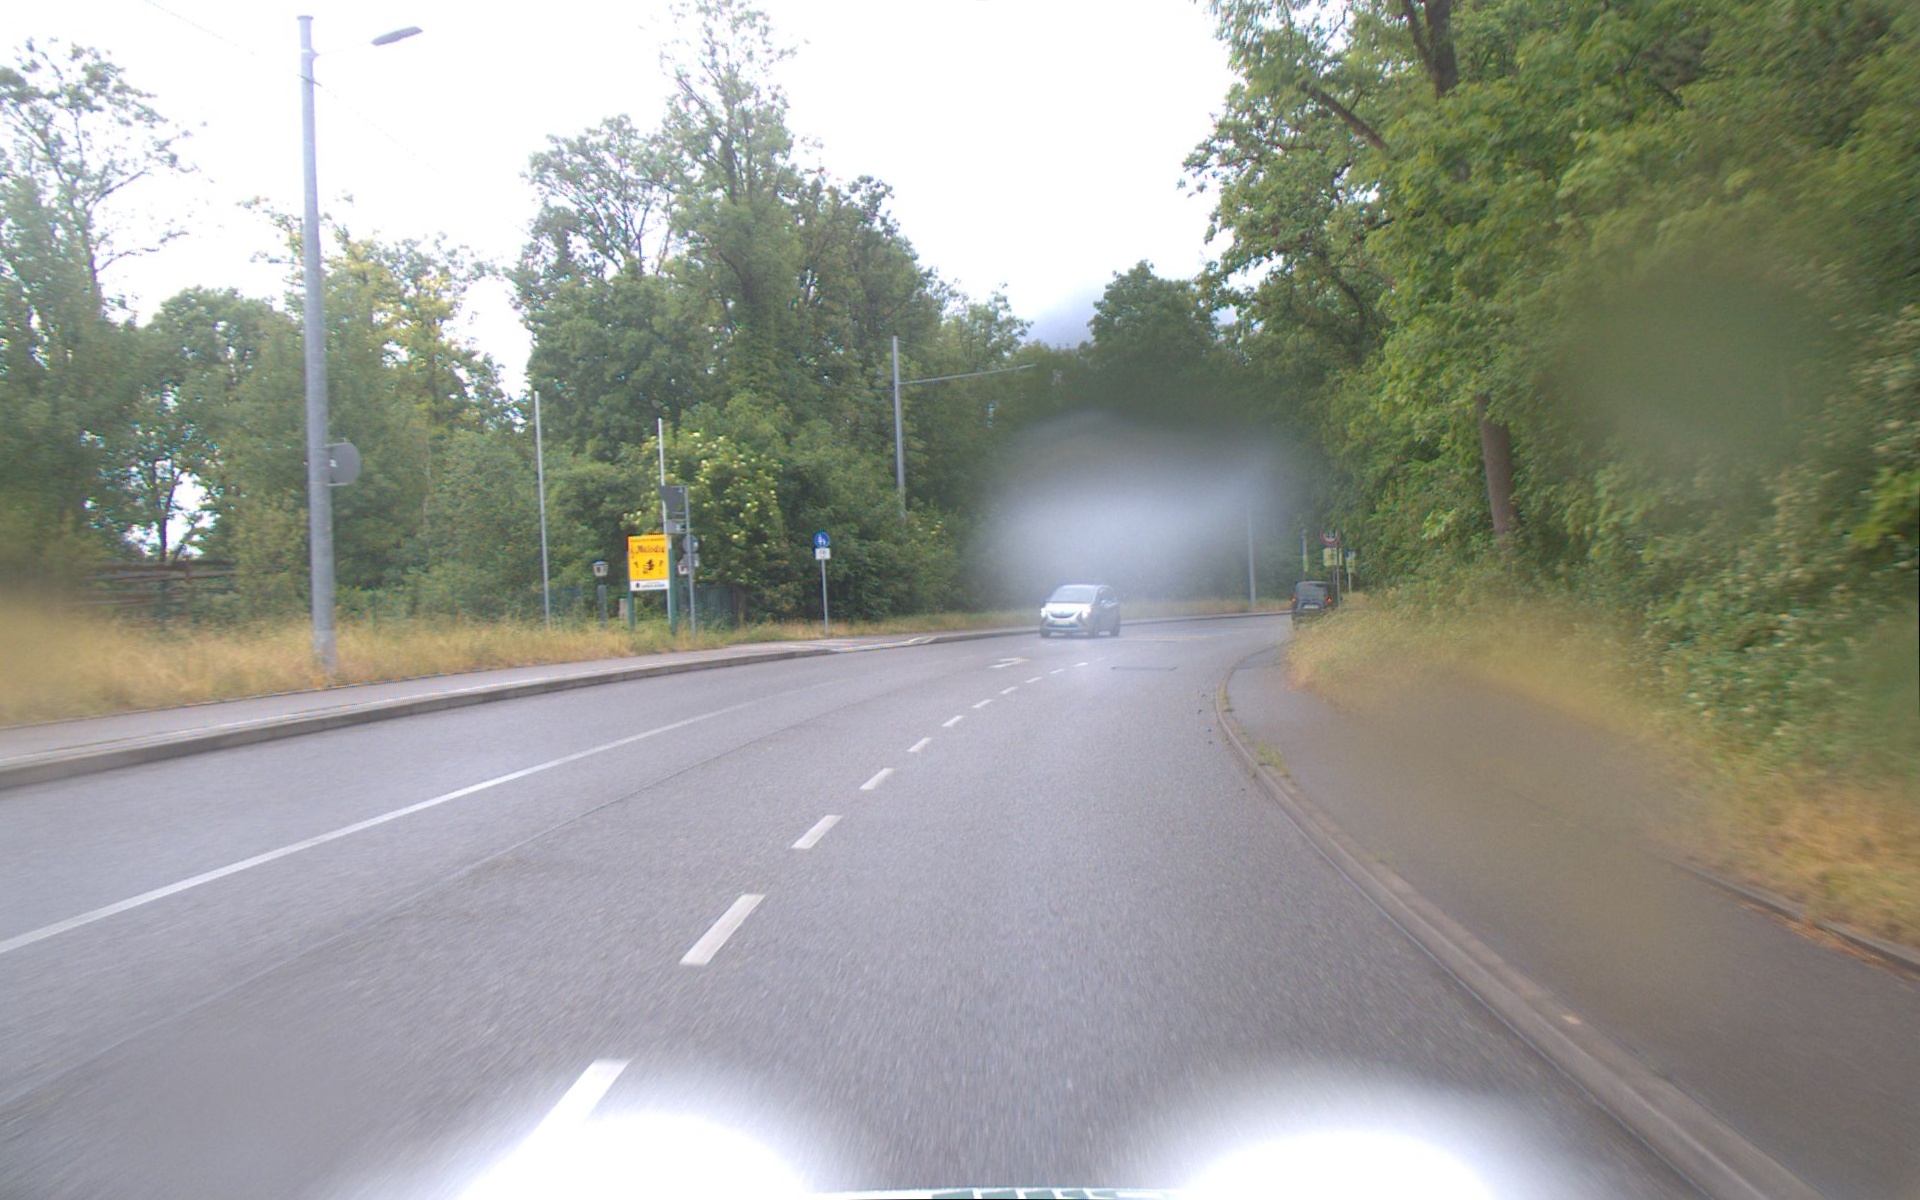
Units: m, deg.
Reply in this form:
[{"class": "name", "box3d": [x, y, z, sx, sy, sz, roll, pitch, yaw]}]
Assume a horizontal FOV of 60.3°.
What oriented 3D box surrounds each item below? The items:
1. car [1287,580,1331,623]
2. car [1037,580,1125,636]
[{"class": "car", "box3d": [13.634, 0.044, 64.639, 1.632, 1.621, 3.686, 1, 0, 12]}, {"class": "car", "box3d": [3.868, 0.240, 52.172, 1.722, 1.643, 4.420, 1, 0, 18]}]
